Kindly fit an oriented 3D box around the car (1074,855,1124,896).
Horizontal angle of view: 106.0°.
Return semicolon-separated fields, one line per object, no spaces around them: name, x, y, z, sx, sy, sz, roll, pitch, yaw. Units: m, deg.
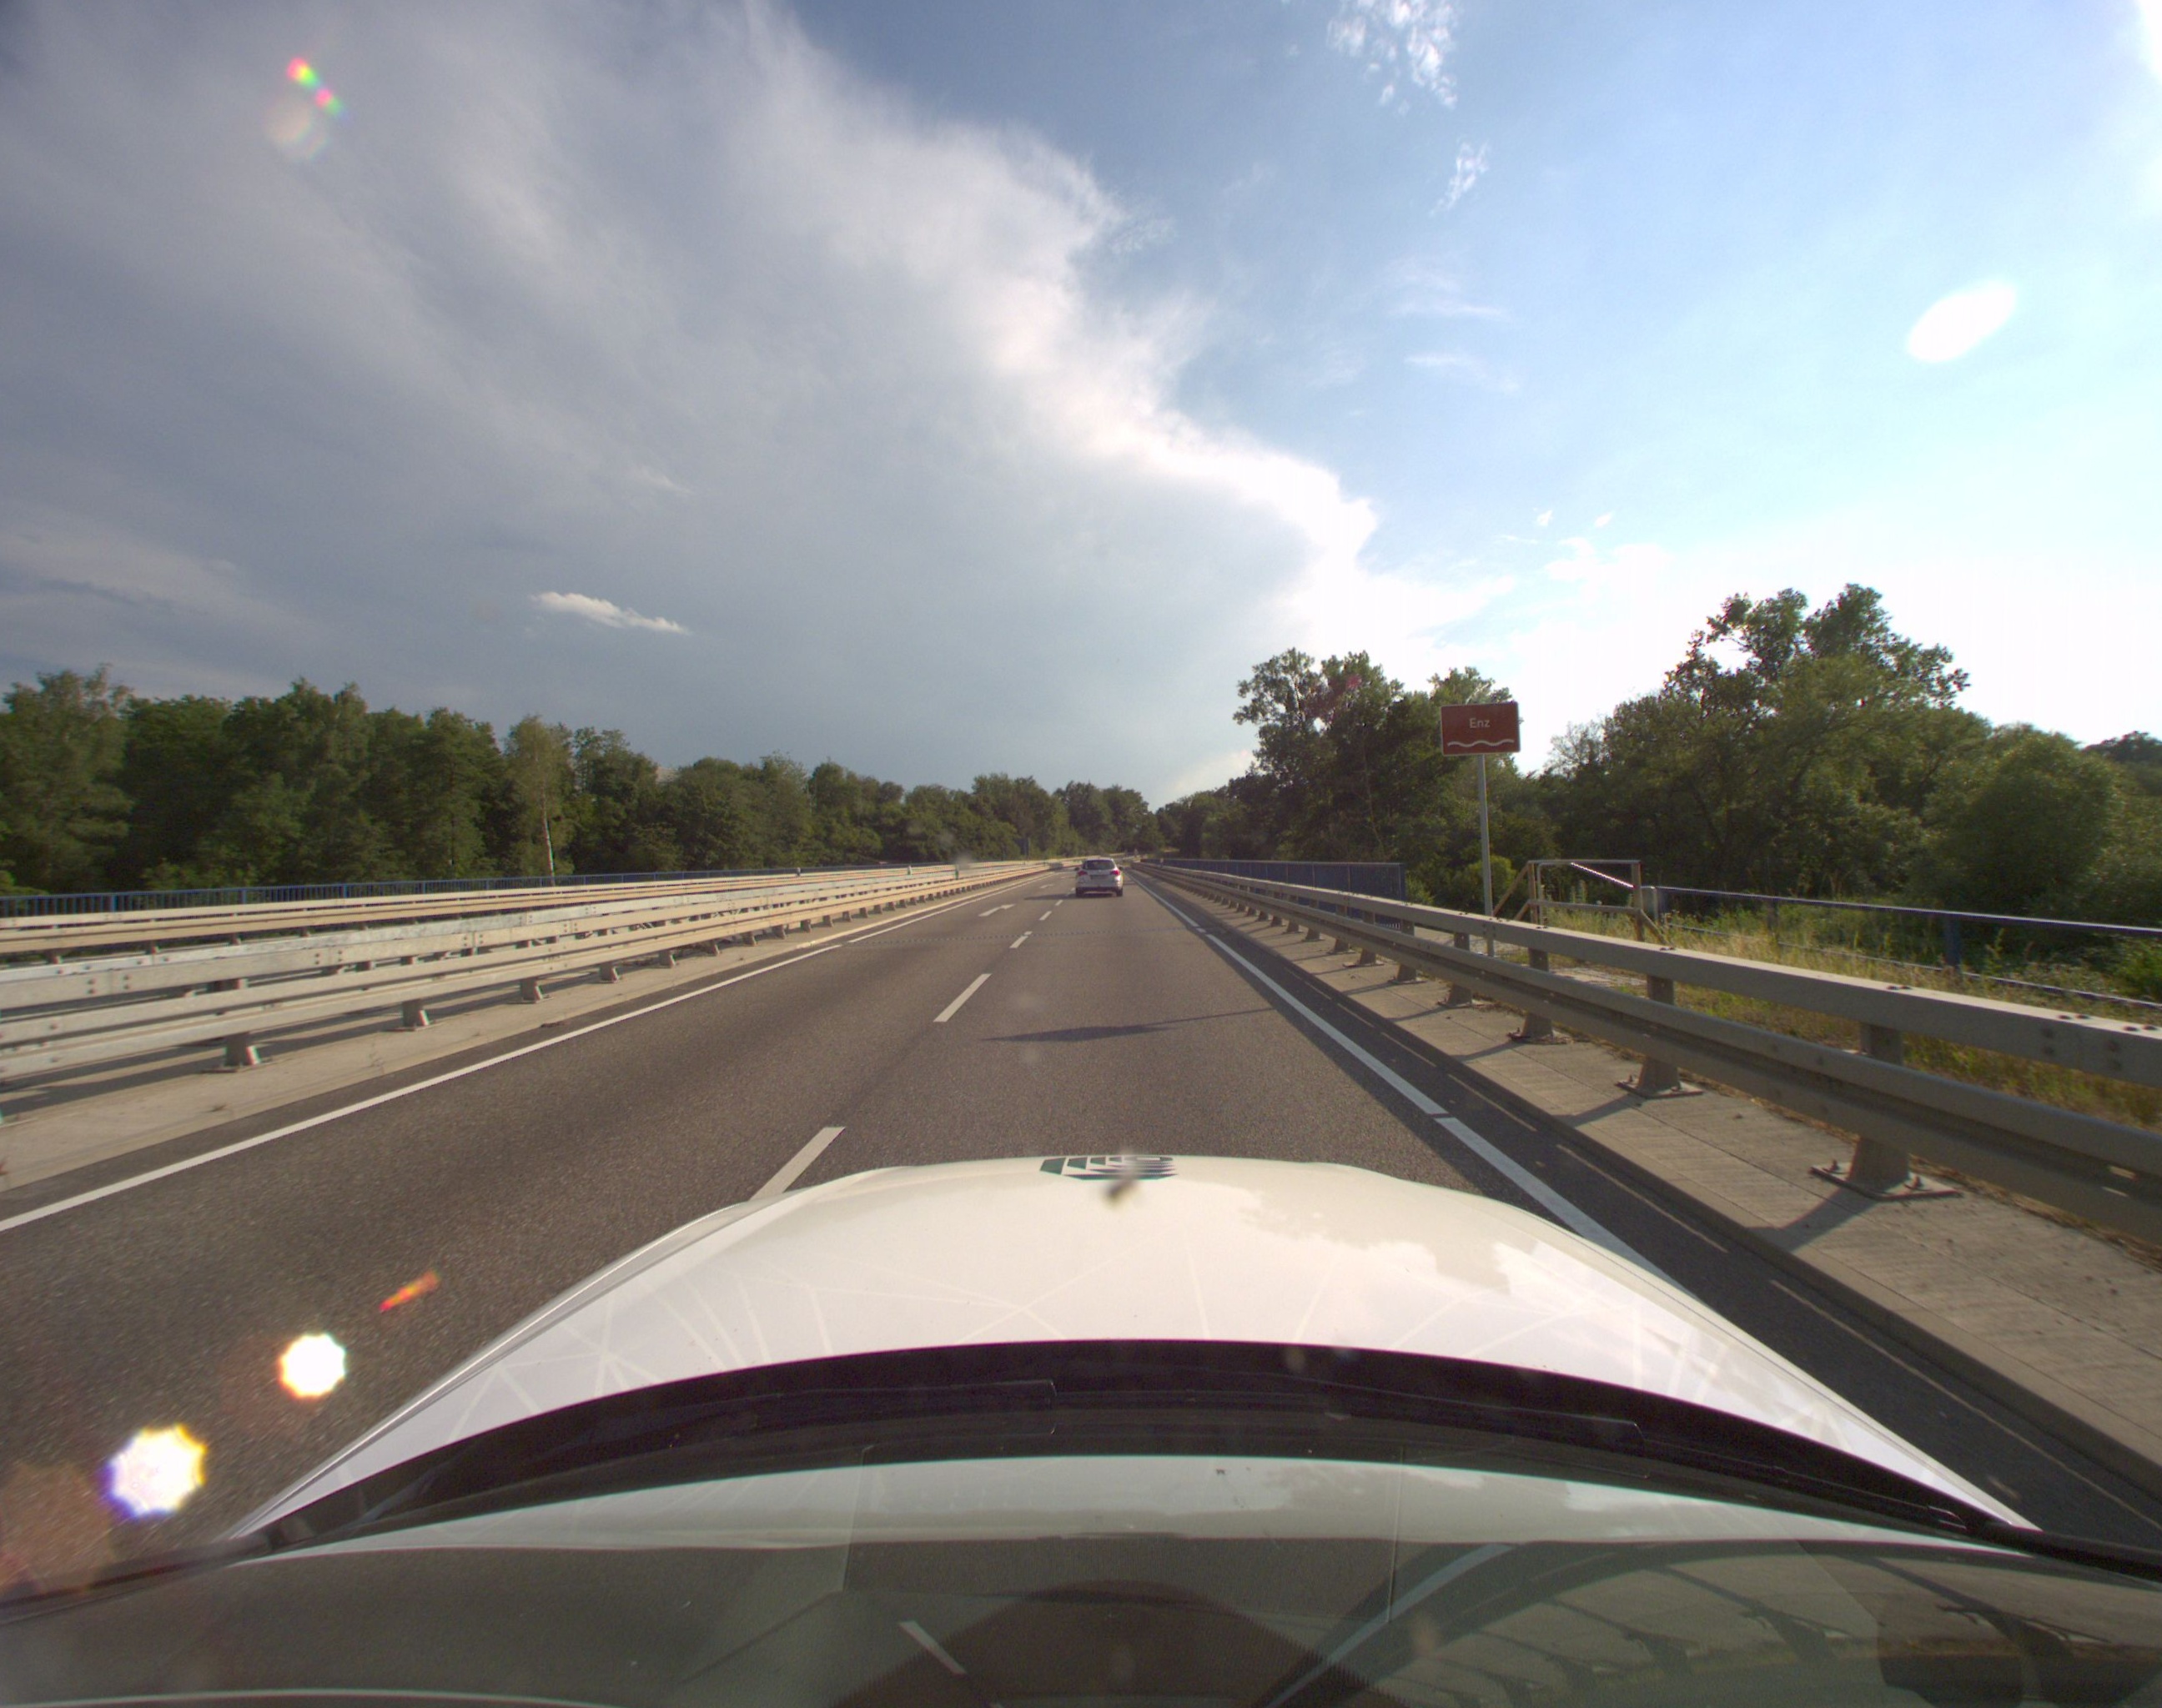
car;0.708;0.815;31.809;1.803;1.486;4.000;-1;-1;1

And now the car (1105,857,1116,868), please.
car;6.023;1.717;165.054;1.985;2.014;4.004;-1;-1;4

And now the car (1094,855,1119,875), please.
car;1.946;0.829;62.878;1.803;1.486;4.000;-1;-1;1
